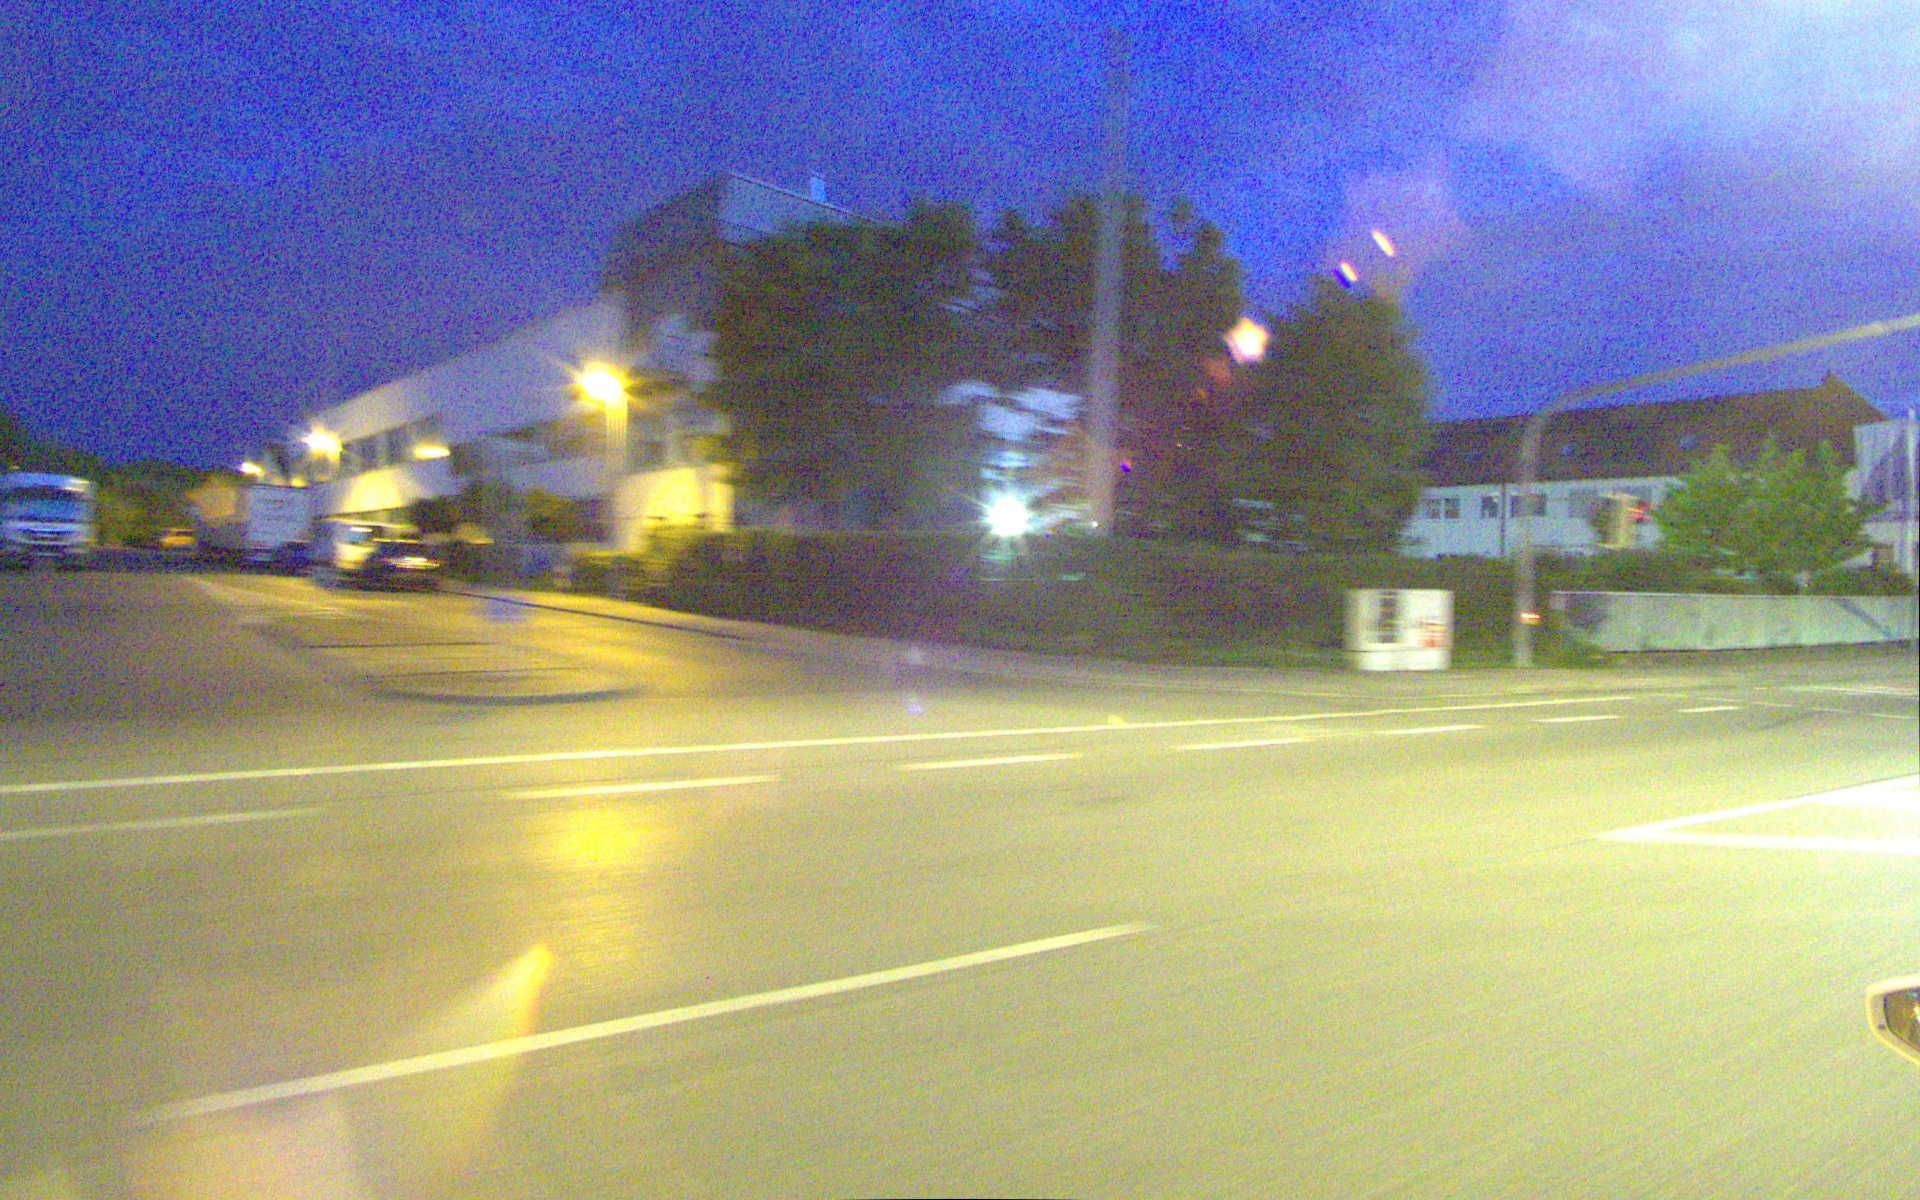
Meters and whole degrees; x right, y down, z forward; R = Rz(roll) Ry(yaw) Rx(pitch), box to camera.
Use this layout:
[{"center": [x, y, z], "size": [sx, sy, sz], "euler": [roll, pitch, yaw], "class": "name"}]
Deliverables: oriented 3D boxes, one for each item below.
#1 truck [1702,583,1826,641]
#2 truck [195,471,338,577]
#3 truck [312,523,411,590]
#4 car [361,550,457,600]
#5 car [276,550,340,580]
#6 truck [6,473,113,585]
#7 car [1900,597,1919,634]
[{"center": [28.894, 0.398, 36.053], "size": [5.262, 1.926, 1.981], "euler": [0, 2, -34], "class": "truck"}, {"center": [-37.462, -3.866, 53.731], "size": [3.456, 4.875, 17.169], "euler": [0, 3, -44], "class": "truck"}, {"center": [-23.372, -1.700, 39.157], "size": [4.974, 2.422, 2.149], "euler": [3, 2, 45], "class": "truck"}, {"center": [-18.933, -0.882, 34.409], "size": [1.897, 1.611, 4.292], "euler": [0, 2, -43], "class": "car"}, {"center": [-28.965, -1.553, 44.598], "size": [1.770, 1.261, 3.522], "euler": [0, 2, -44], "class": "car"}, {"center": [-35.622, -2.548, 39.827], "size": [2.853, 3.776, 9.485], "euler": [0, 0, -42], "class": "truck"}, {"center": [43.038, 0.686, 44.201], "size": [1.804, 1.514, 4.512], "euler": [2, 2, 36], "class": "car"}]
